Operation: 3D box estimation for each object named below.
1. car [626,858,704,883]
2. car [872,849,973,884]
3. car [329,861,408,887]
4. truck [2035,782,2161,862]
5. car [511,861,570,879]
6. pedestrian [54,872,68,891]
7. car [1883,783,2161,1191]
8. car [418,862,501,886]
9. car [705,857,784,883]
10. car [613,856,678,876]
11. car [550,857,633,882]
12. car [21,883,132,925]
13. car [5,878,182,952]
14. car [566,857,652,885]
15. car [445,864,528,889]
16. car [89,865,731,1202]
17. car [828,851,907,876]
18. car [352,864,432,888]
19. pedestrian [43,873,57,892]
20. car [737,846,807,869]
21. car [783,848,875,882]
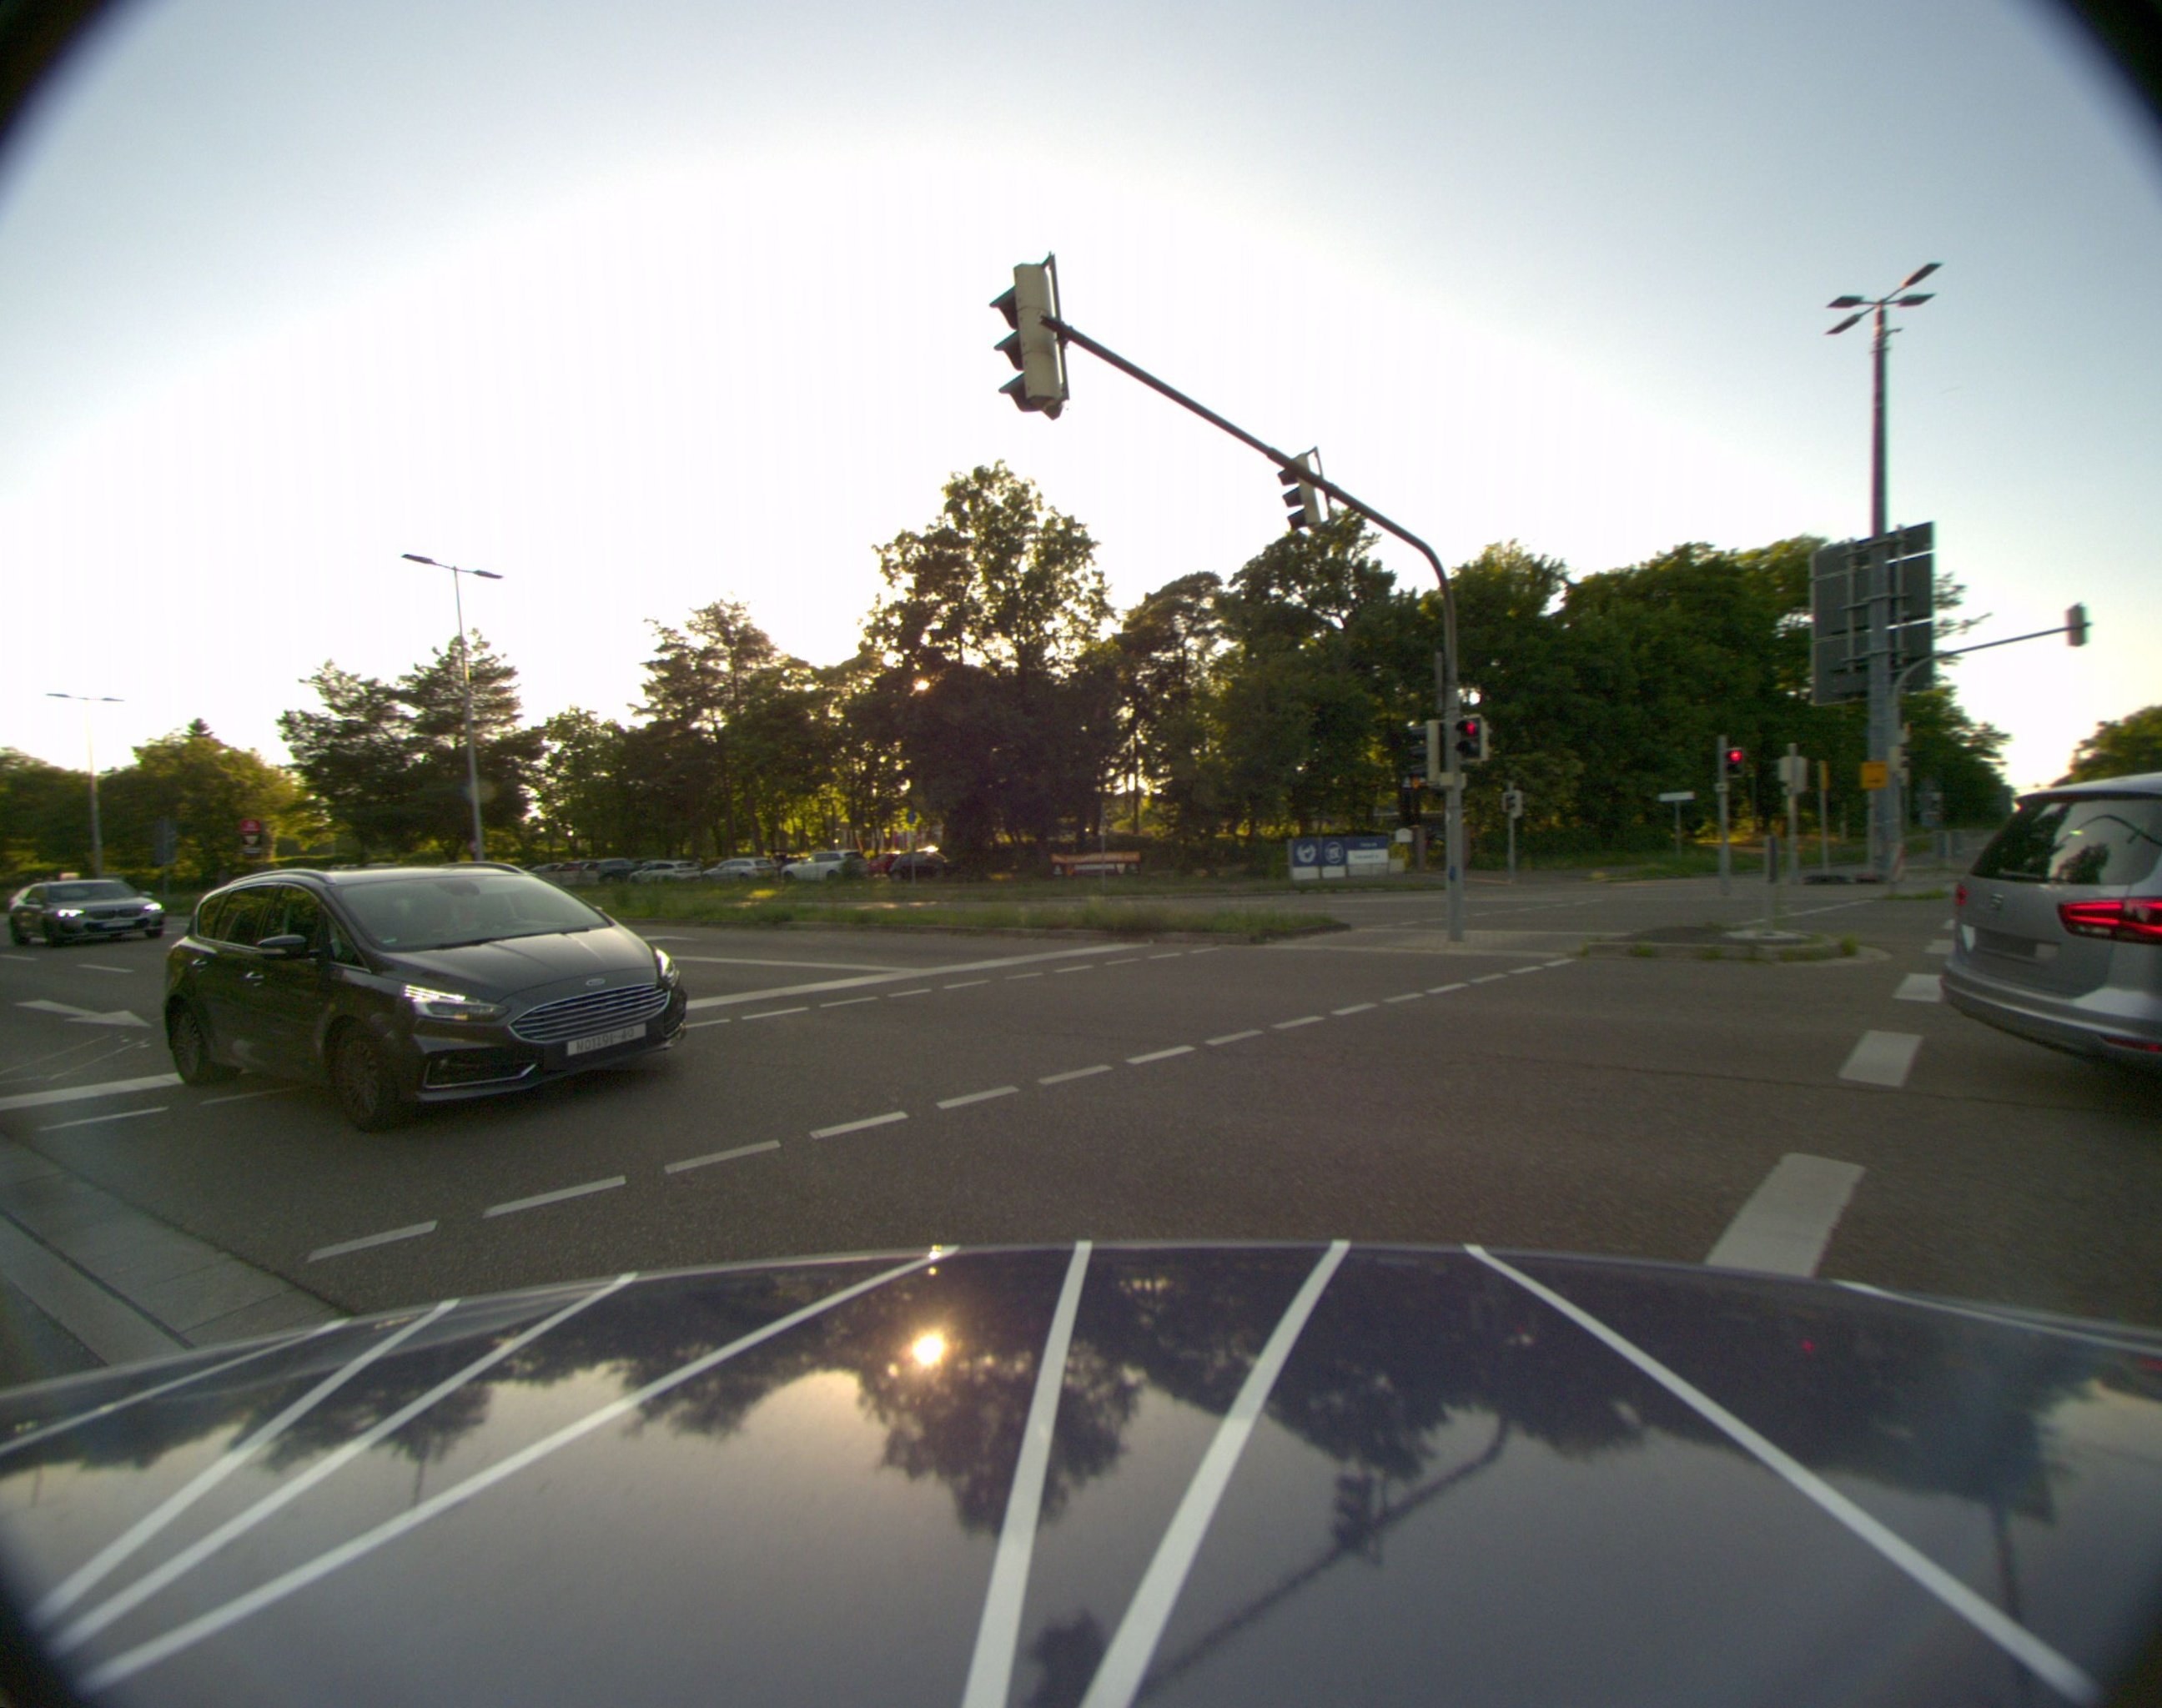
[{"bbox_3d":[-25.130,1.008,45.881,4.488,1.317,1.682,-2,1,23],"label":"car"},{"bbox_3d":[-7.909,0.608,37.965,4.539,1.649,1.867,-1,1,13],"label":"car"},{"bbox_3d":[-54.997,1.527,58.747,1.821,1.854,4.006,-1,1,28],"label":"car"},{"bbox_3d":[36.370,-1.156,26.999,6.032,2.543,2.598,-3,2,-34],"label":"truck"},{"bbox_3d":[-45.271,1.331,63.679,4.537,1.399,1.868,-2,1,23],"label":"car"},{"bbox_3d":[-96.038,2.607,71.559,0.675,1.765,0.568,-1,3,28],"label":"pedestrian"},{"bbox_3d":[6.834,0.478,3.019,4.648,1.714,1.875,-2,1,28],"label":"car"},{"bbox_3d":[-44.099,1.409,54.009,1.779,1.470,4.177,-1,1,25],"label":"car"},{"bbox_3d":[-19.146,0.886,43.222,3.990,1.324,1.868,-2,1,23],"label":"car"},{"bbox_3d":[-33.457,0.936,58.370,4.537,1.399,1.868,-2,1,23],"label":"car"},{"bbox_3d":[-31.577,0.974,49.142,1.995,1.445,4.006,-1,1,25],"label":"car"},{"bbox_3d":[-39.496,1.923,29.872,4.065,1.398,1.875,-1,3,27],"label":"car"},{"bbox_3d":[-26.146,1.550,20.115,4.385,1.615,2.003,-1,3,27],"label":"car"},{"bbox_3d":[-28.926,1.013,46.665,1.757,1.470,4.057,-1,1,29],"label":"car"},{"bbox_3d":[-41.366,1.546,52.973,1.779,1.470,4.177,-1,1,25],"label":"car"},{"bbox_3d":[-5.294,1.036,5.918,4.809,1.652,2.015,-2,1,27],"label":"car"},{"bbox_3d":[-13.292,0.599,47.266,4.537,1.399,1.868,-2,1,23],"label":"car"},{"bbox_3d":[-52.128,1.641,57.570,1.821,1.628,4.006,-1,1,28],"label":"car"},{"bbox_3d":[-96.348,2.658,70.980,0.675,1.736,0.568,-1,3,28],"label":"pedestrian"},{"bbox_3d":[-21.710,0.240,53.348,4.537,1.399,1.868,-2,1,23],"label":"car"},{"bbox_3d":[-13.496,0.598,40.681,4.537,1.649,1.868,-2,1,23],"label":"car"}]
